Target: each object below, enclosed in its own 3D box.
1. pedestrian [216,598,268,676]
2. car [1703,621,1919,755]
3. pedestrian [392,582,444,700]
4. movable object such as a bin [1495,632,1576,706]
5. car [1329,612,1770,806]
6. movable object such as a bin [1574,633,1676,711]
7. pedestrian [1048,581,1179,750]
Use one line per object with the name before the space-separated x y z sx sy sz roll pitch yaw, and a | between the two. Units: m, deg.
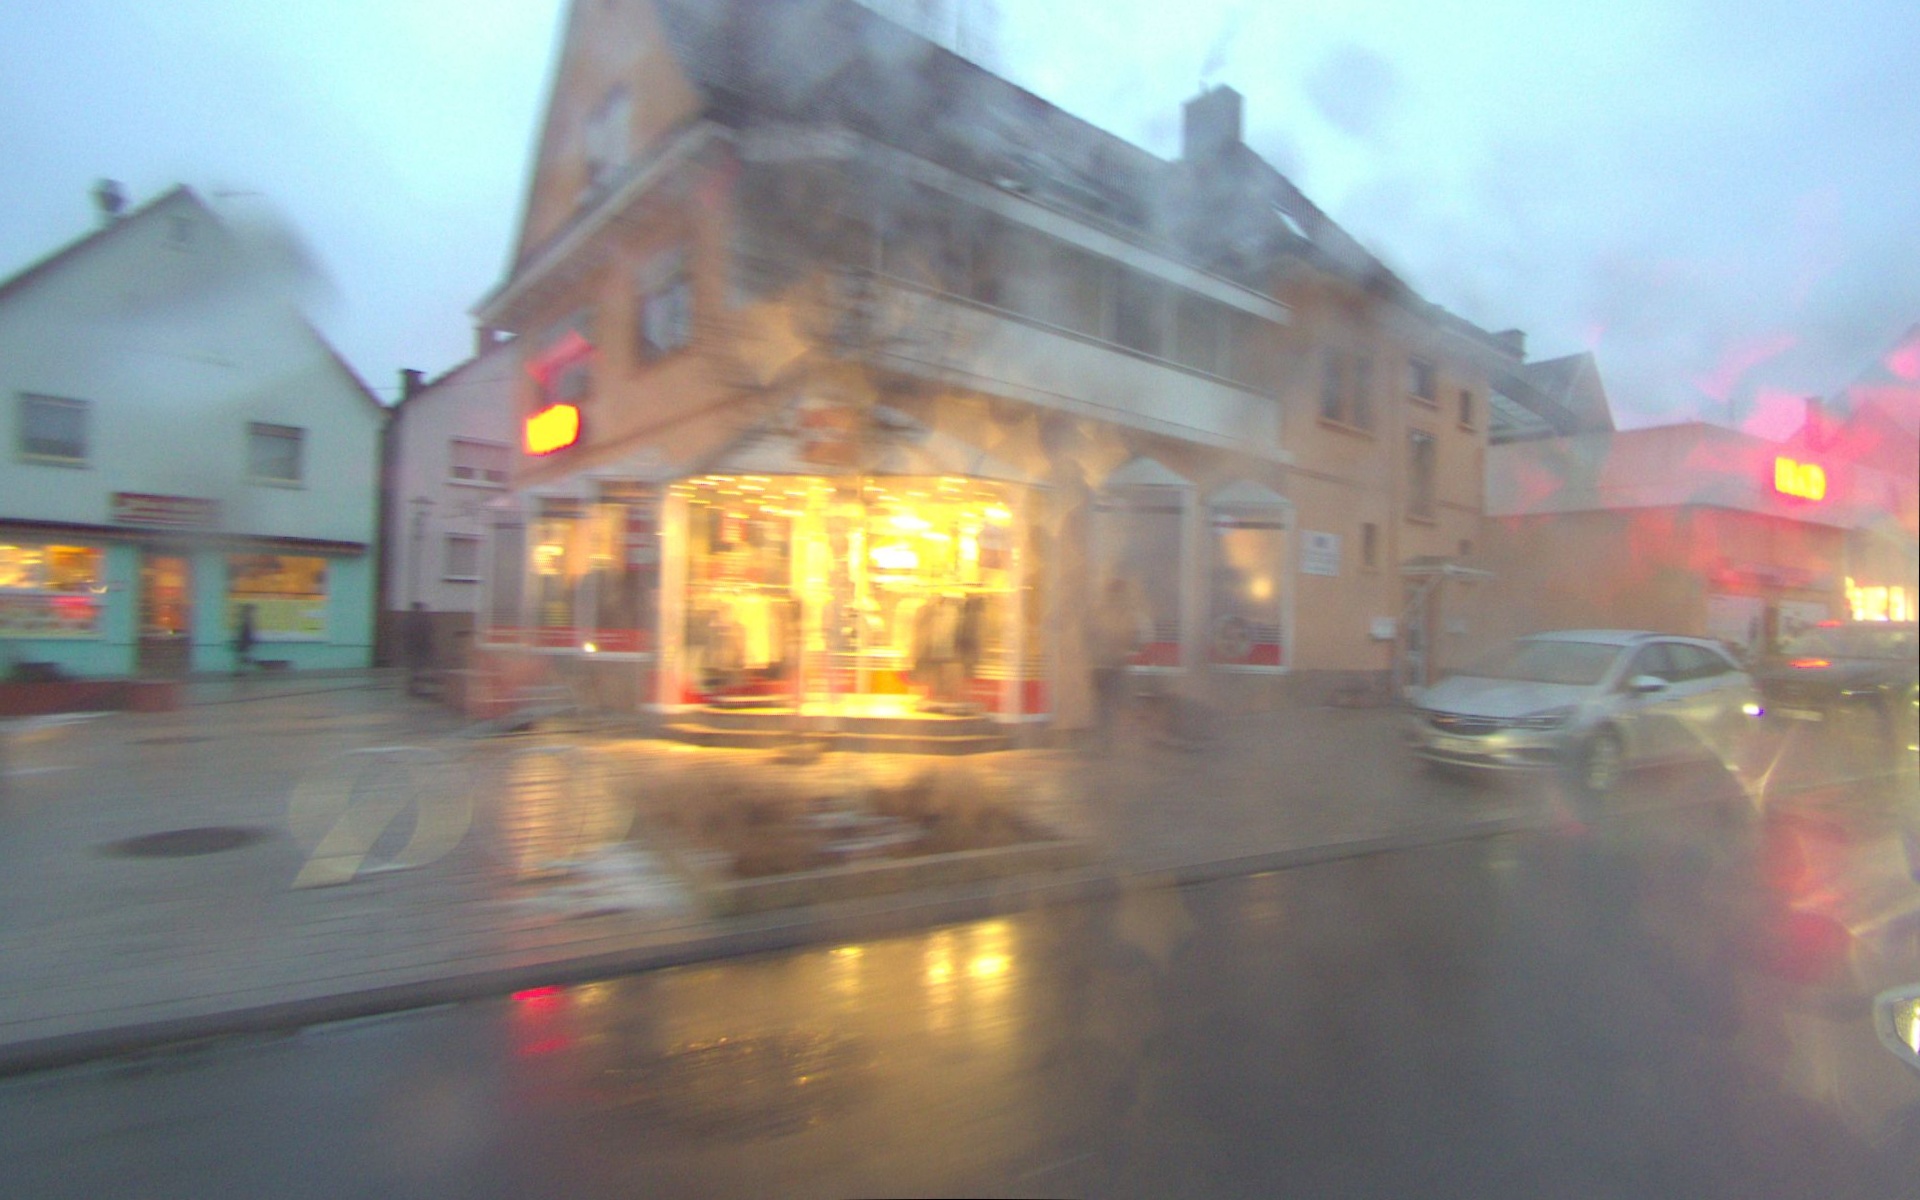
pedestrian | -16.395 0.845 22.938 0.835 1.738 0.908 2 -2 -44
car | 12.596 1.113 13.920 4.921 1.543 1.983 2 -1 -31
pedestrian | -9.609 0.713 17.834 0.726 2.040 0.821 1 1 -25
movable object such as a bin | 11.251 1.321 19.644 0.845 1.372 1.140 1 0 -41
car | 6.197 0.971 10.439 4.567 1.579 1.984 1 0 -31
movable object such as a bin | 12.185 1.319 18.430 0.882 1.371 1.329 2 -4 -40
pedestrian | 1.634 0.663 10.715 1.086 1.680 0.821 1 1 -35
